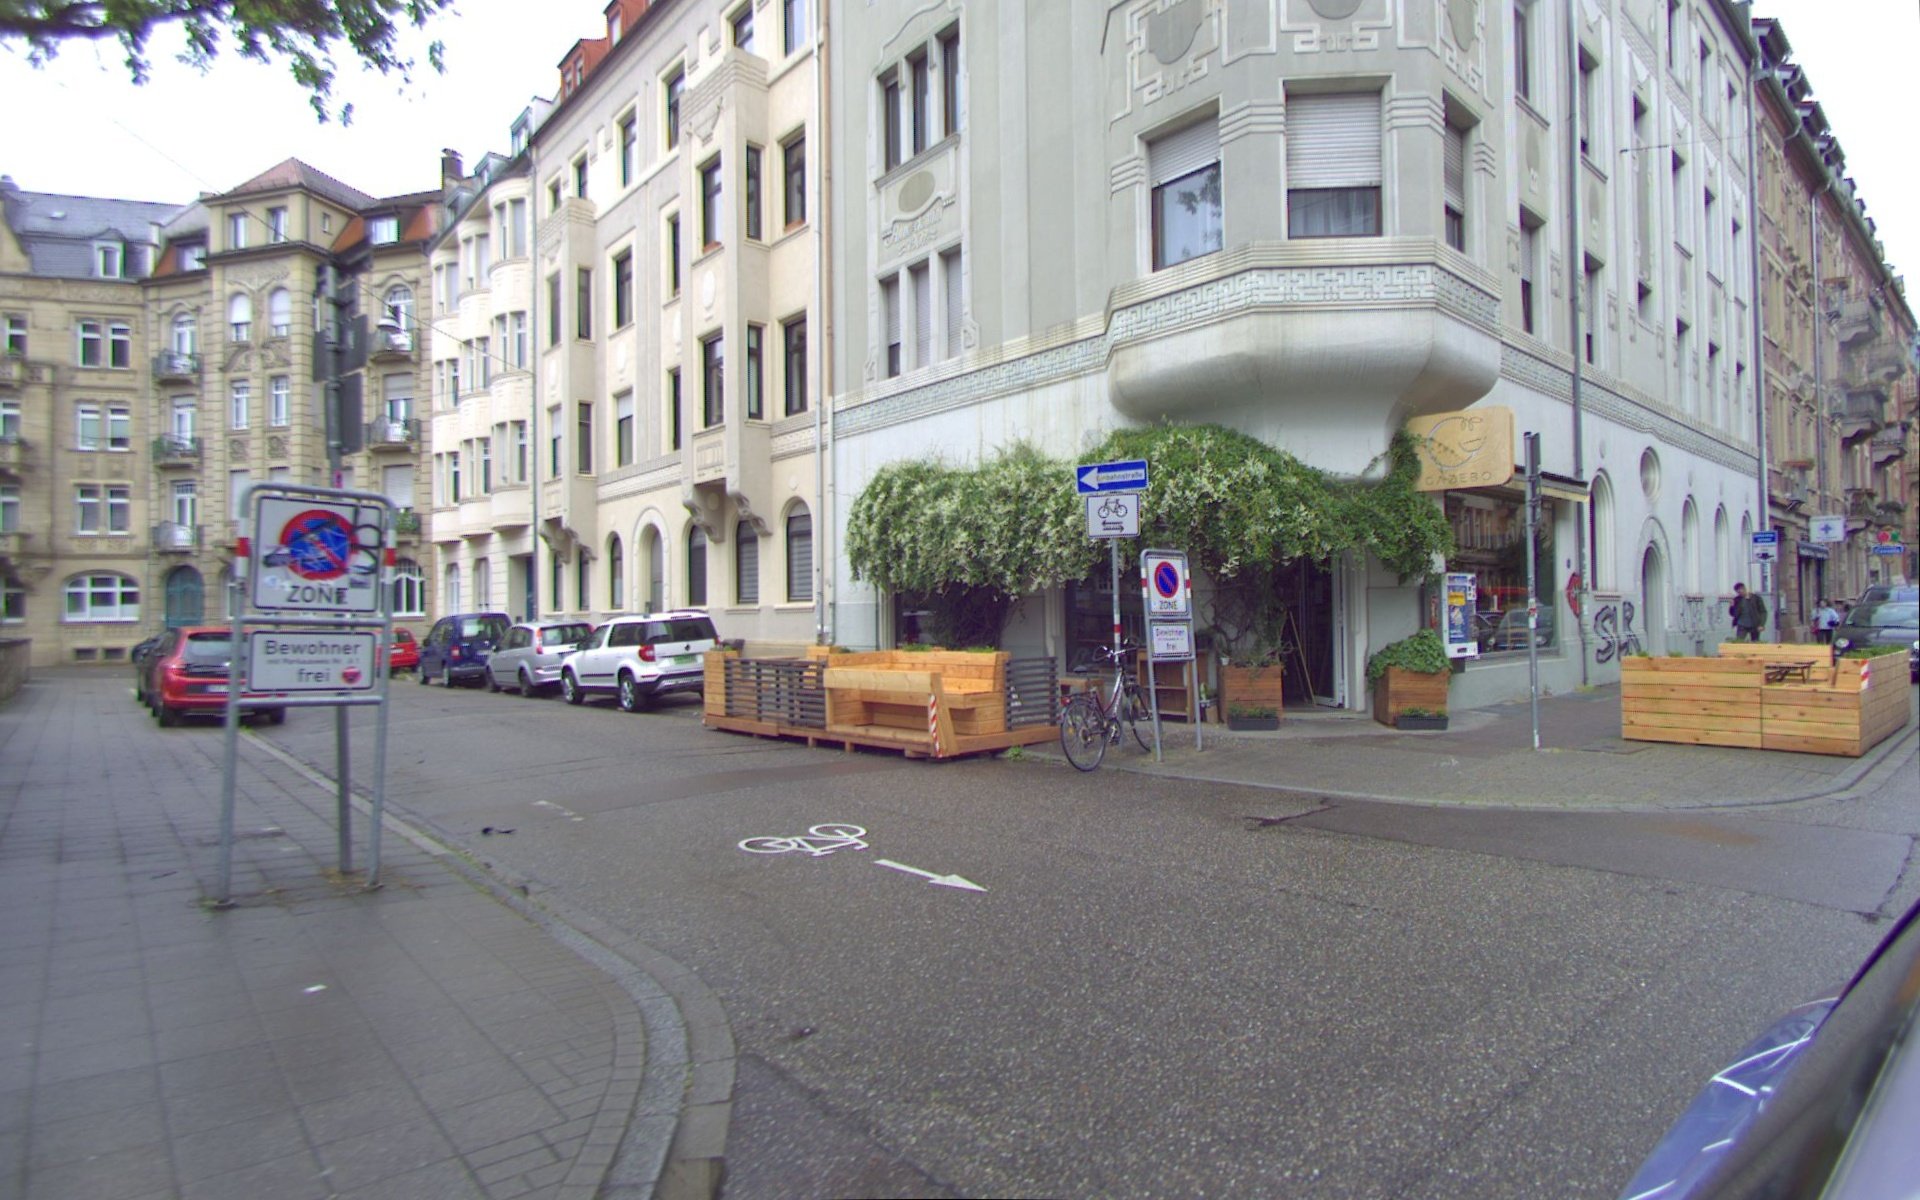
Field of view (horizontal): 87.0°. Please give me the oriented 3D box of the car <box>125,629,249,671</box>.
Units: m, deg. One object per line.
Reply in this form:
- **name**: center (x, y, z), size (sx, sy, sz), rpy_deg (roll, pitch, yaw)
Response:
- **car**: center (-30.140, 1.926, 39.484), size (4.083, 1.576, 1.706), rpy_deg (0, -2, 15)

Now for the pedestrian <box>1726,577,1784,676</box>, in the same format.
- **pedestrian**: center (16.243, 0.539, 20.682), size (0.408, 1.976, 0.826), rpy_deg (-2, 0, -41)

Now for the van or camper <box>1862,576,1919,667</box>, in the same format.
- **van or camper**: center (22.019, 0.455, 22.818), size (4.968, 1.915, 2.024), rpy_deg (0, 0, -42)

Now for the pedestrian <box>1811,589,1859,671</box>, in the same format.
- **pedestrian**: center (22.260, 0.757, 25.764), size (0.408, 2.039, 0.826), rpy_deg (-2, 0, -41)

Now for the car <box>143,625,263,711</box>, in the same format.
- **car**: center (-15.521, 1.299, 20.678), size (1.685, 1.576, 3.968), rpy_deg (2, -2, -41)

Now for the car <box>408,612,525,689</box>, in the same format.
- **car**: center (-13.043, 1.268, 26.644), size (1.784, 1.801, 3.846), rpy_deg (-1, 0, -42)

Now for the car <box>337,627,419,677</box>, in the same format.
- **car**: center (-19.652, 1.702, 34.096), size (1.685, 1.576, 3.847), rpy_deg (2, -2, -41)

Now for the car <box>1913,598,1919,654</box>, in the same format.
- **car**: center (28.848, 0.718, 29.098), size (3.936, 1.565, 1.843), rpy_deg (0, 0, -43)

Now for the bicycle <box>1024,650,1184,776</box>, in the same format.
- **bicycle**: center (1.487, 1.082, 10.167), size (1.888, 0.991, 0.452), rpy_deg (-4, 1, -42)

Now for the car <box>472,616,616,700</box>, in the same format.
- **car**: center (-9.479, 1.240, 22.931), size (1.784, 1.608, 3.846), rpy_deg (-4, 2, -42)

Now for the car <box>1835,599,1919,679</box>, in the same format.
- **car**: center (18.180, 0.693, 19.409), size (3.641, 1.418, 1.712), rpy_deg (0, 0, -42)

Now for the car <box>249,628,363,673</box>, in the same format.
- **car**: center (-24.235, 1.830, 37.479), size (4.205, 1.576, 1.698), rpy_deg (-1, -2, 28)

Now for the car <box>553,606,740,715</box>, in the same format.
- **car**: center (-5.926, 1.045, 18.870), size (1.785, 1.719, 3.845), rpy_deg (-4, 1, -43)

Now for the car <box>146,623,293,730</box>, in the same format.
- **car**: center (-12.536, 1.187, 17.045), size (1.685, 1.576, 3.847), rpy_deg (2, -2, -41)
